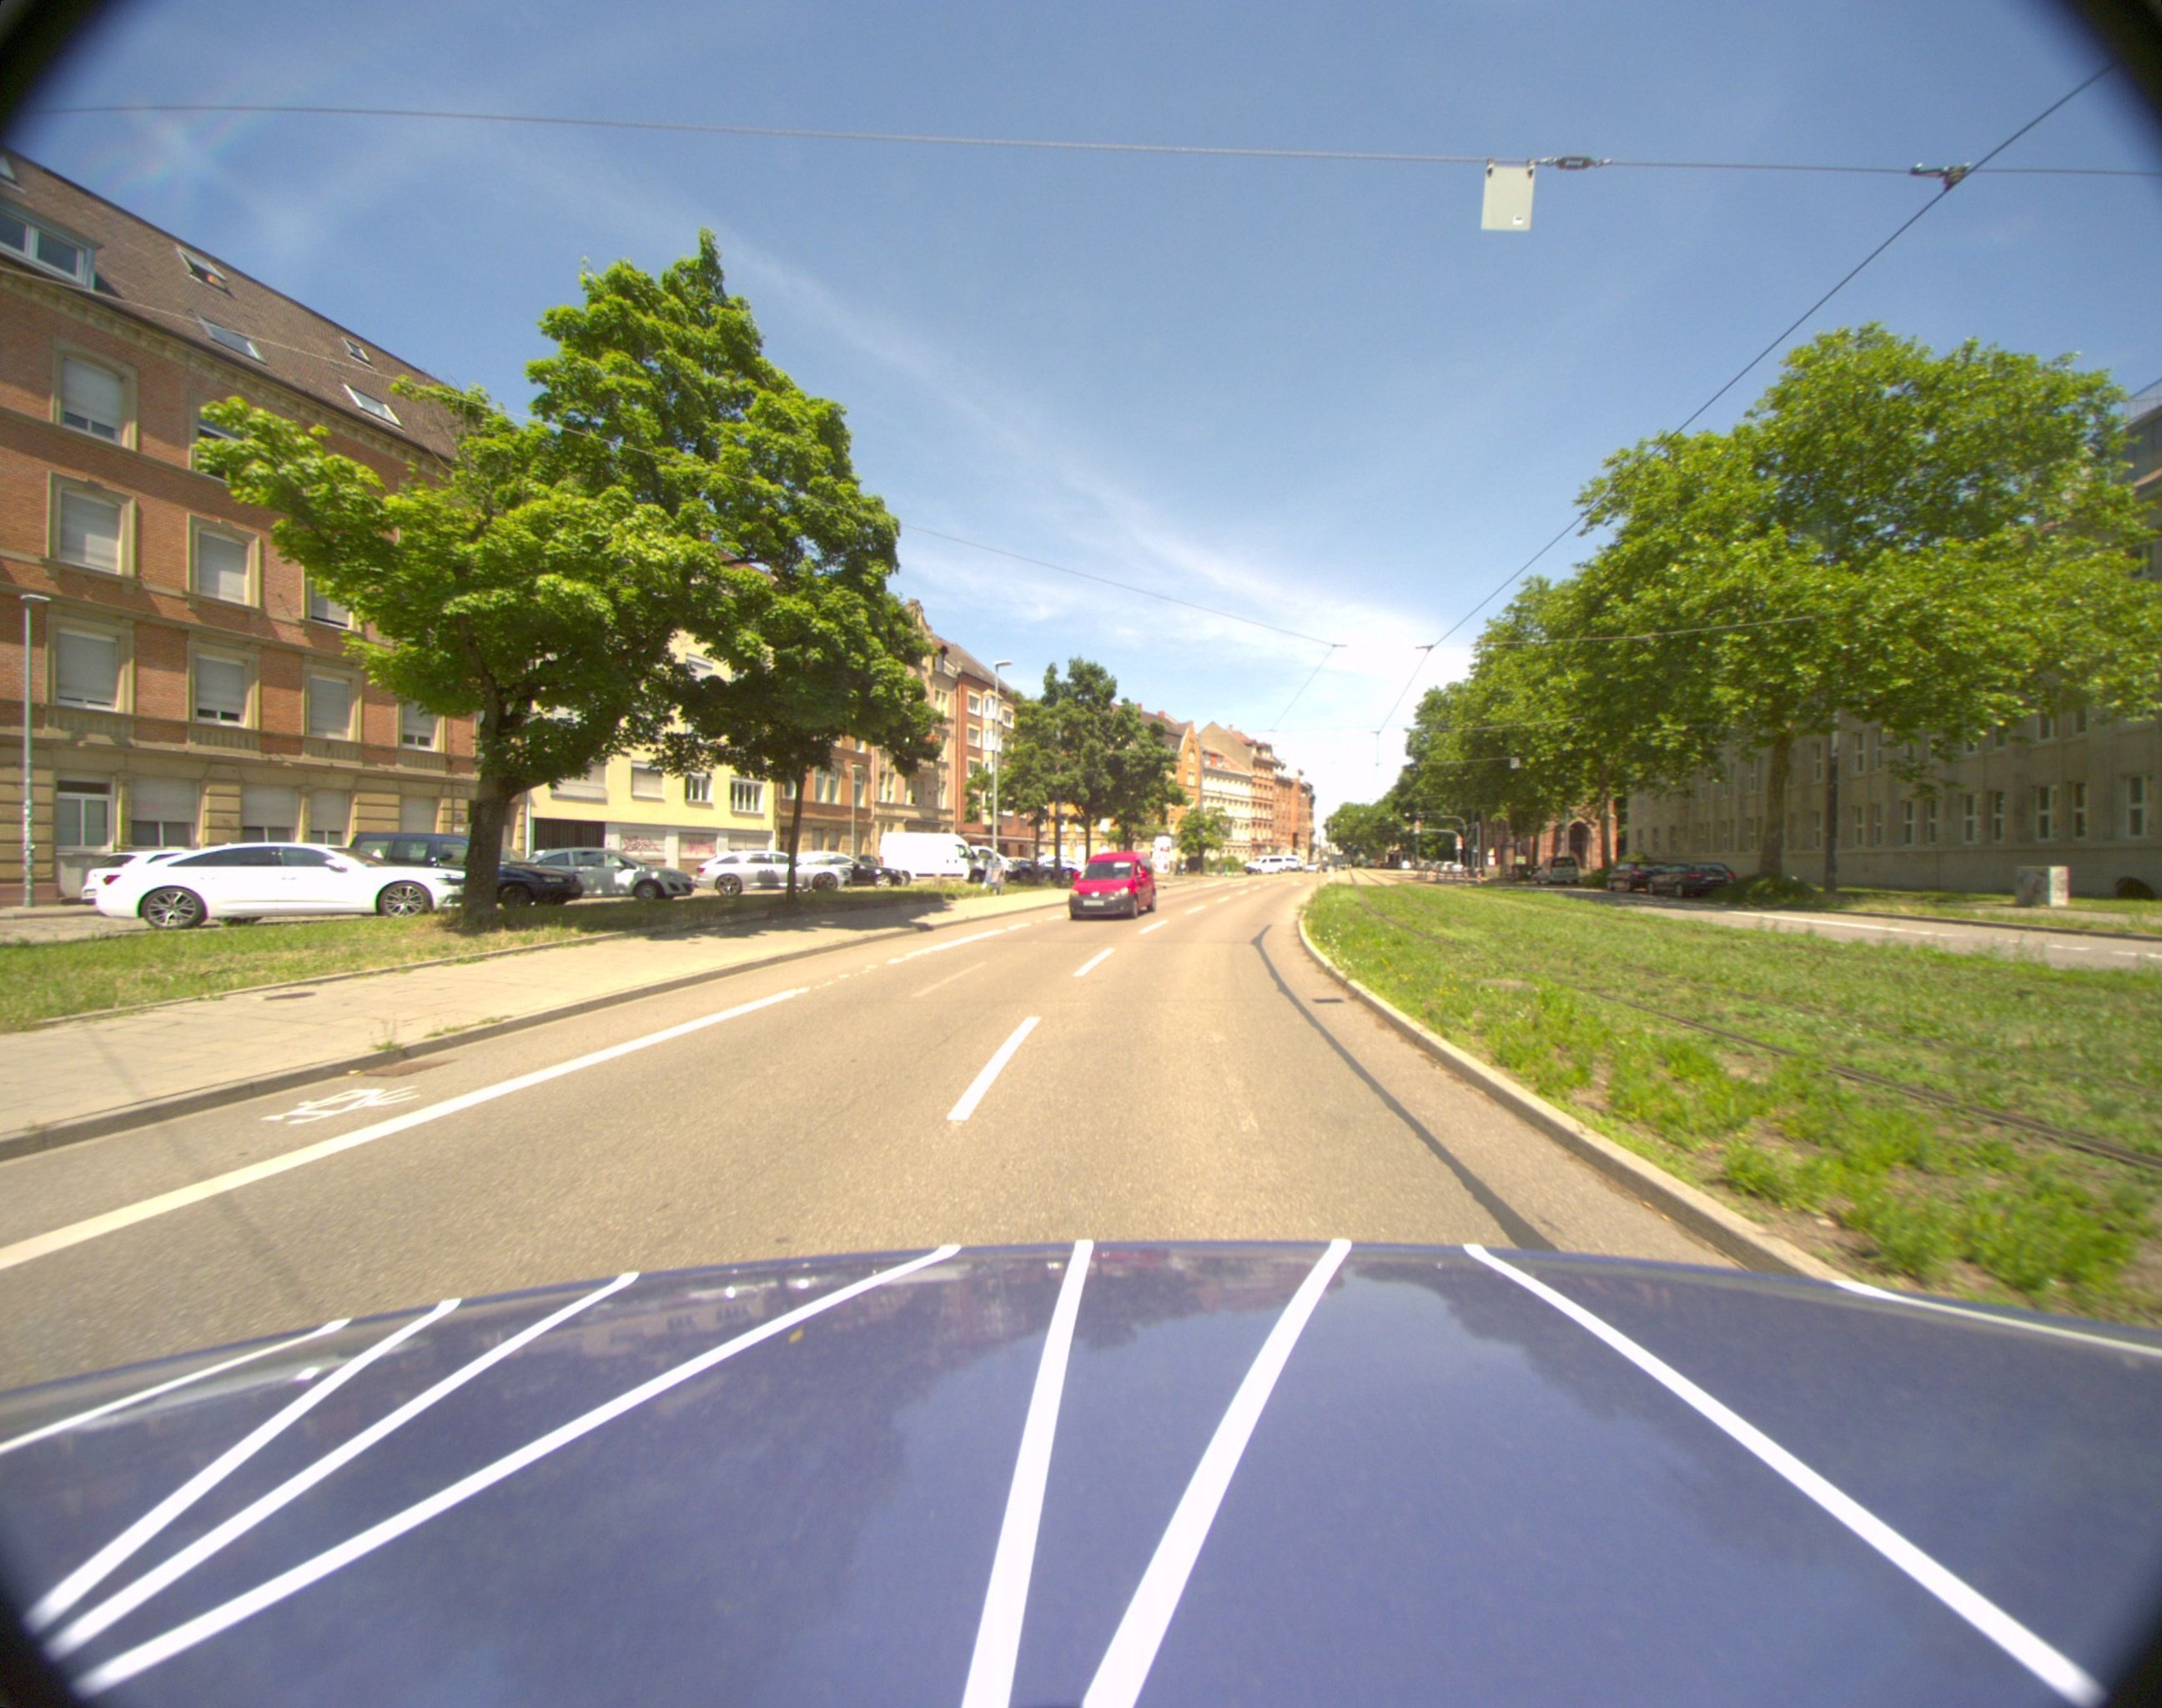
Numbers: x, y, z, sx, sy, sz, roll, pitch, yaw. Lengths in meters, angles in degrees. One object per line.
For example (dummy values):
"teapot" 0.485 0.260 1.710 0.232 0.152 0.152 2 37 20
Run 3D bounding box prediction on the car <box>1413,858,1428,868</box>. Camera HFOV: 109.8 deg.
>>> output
"car" 58.759 1.480 131.420 1.996 1.707 4.006 -1 0 19

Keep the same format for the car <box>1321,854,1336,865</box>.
"car" 36.153 0.827 110.921 1.797 1.564 4.006 -1 0 20

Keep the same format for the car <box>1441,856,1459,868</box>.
"car" 48.332 1.058 99.536 1.660 1.450 4.064 -1 0 19

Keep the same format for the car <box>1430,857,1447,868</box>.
"car" 51.527 1.208 109.508 1.745 1.450 3.759 -1 0 18

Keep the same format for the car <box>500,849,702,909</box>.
"car" -12.026 0.594 19.337 4.003 1.392 1.710 -1 0 -17

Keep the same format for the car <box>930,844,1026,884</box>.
"car" -5.396 0.528 39.680 4.849 1.961 2.075 -1 0 -10

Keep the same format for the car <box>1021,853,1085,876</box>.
"car" -1.779 0.655 48.920 3.998 1.391 1.823 -1 0 -2

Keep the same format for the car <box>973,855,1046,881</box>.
"car" -3.973 0.767 42.687 3.998 1.378 1.823 -1 0 -2

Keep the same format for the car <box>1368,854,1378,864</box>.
"car" 70.034 1.213 182.427 1.819 2.283 3.767 -1 0 16

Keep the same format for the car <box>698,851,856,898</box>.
"car" -10.011 0.646 25.404 4.696 1.419 1.969 -1 0 -18

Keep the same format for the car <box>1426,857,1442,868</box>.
"car" 53.159 1.266 114.526 1.745 1.514 3.759 -1 0 18

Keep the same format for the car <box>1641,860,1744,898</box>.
"car" 24.377 0.947 30.479 1.590 1.415 4.328 -1 0 15

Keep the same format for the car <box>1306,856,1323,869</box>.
"car" 30.174 1.083 98.130 1.797 1.564 4.006 -1 0 20

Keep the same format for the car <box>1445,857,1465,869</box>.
"car" 46.653 1.150 94.872 1.660 1.450 4.227 -1 0 19

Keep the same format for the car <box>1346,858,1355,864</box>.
"car" 68.600 1.817 193.406 1.748 1.386 4.352 -2 -1 16

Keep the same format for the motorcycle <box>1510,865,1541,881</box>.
"motorcycle" 31.479 1.353 53.814 1.872 1.062 0.726 -2 0 -12

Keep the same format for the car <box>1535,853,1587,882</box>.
"car" 31.024 0.852 49.229 1.995 1.800 4.307 -1 0 21

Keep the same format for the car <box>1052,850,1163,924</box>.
"car" 0.905 0.836 21.277 1.857 1.823 5.173 -1 0 16

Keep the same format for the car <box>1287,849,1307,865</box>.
"car" 32.362 0.412 113.555 1.995 2.317 5.417 3 1 24

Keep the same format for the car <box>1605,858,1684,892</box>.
"car" 26.308 0.933 35.649 1.764 1.474 4.330 -1 0 20

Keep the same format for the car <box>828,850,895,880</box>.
"car" -12.834 0.636 44.714 1.821 1.674 4.006 -1 0 18

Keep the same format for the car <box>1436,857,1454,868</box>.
"car" 49.758 1.093 104.013 1.660 1.450 4.064 -1 0 18

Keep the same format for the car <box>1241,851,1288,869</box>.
"car" 20.530 0.630 84.959 4.862 1.926 2.162 -1 0 -29

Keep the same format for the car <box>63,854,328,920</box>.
"car" -21.020 0.734 18.254 1.781 1.411 3.721 -1 0 18

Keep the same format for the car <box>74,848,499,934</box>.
"car" -13.718 0.578 13.635 4.793 1.305 2.146 -1 0 -22

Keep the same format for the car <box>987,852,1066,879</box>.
"car" -3.275 0.681 45.610 4.632 1.488 1.964 -1 0 -5

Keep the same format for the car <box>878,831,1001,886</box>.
"car" -6.785 0.196 36.314 5.556 2.446 2.235 -1 0 -18

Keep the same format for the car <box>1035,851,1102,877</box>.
"car" -0.882 0.677 51.848 4.410 1.622 2.000 -1 0 -3

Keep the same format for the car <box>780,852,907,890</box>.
"car" -8.927 0.612 28.735 4.435 1.330 1.969 -1 0 -18

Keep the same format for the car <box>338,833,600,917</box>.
"car" -13.223 0.431 16.676 3.999 1.652 1.971 -1 0 -7

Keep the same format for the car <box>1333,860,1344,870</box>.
"car" 44.722 1.882 132.017 1.798 1.564 4.006 -1 0 18
